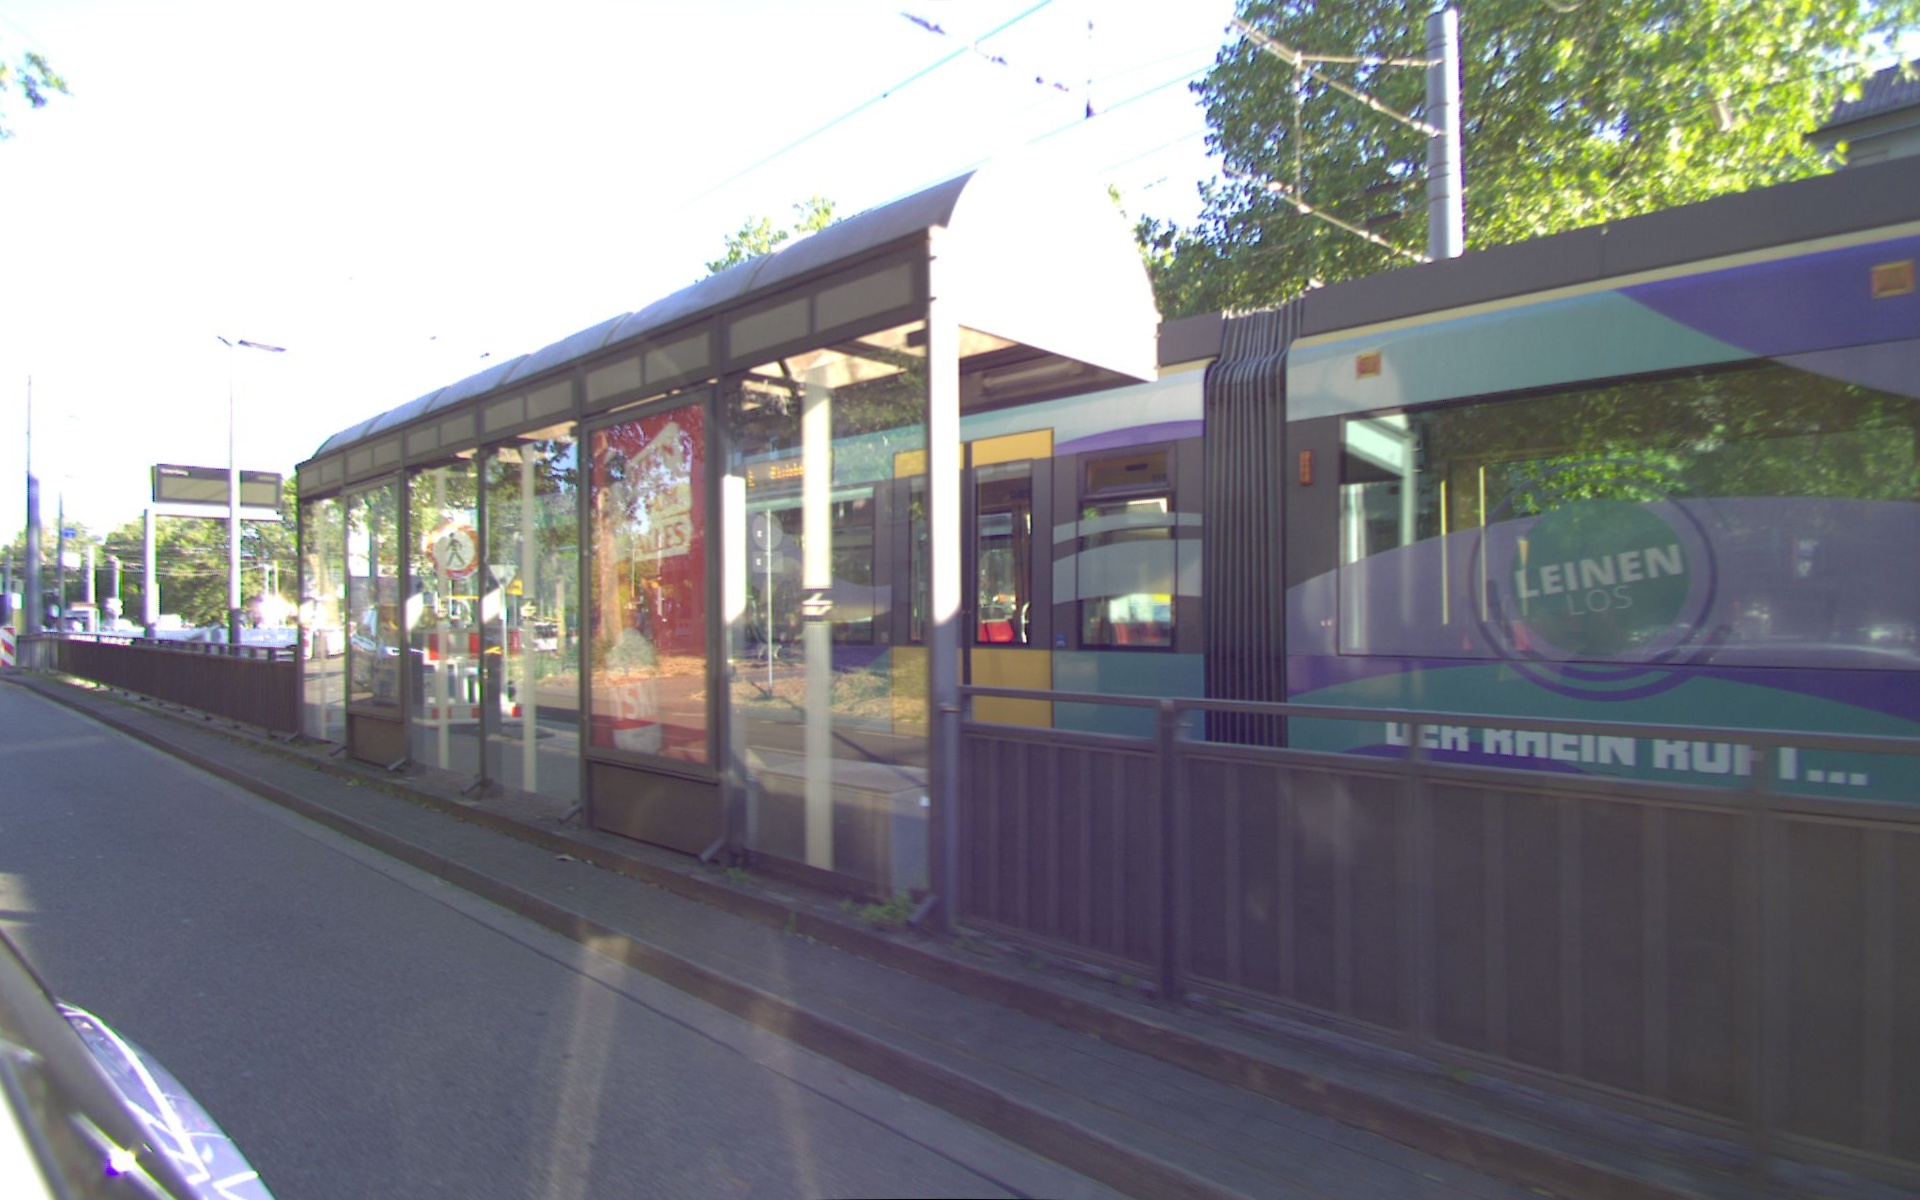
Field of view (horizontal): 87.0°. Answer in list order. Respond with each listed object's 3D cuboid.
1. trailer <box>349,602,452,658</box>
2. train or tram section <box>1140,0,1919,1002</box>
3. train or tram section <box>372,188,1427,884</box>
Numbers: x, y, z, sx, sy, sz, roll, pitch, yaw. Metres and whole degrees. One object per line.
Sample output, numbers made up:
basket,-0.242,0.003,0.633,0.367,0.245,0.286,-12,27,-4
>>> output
trailer,-22.645,1.202,40.905,4.337,2.131,1.976,-2,-1,36
train or tram section,6.594,-0.442,2.303,12.785,3.576,2.699,-1,-1,43
train or tram section,-2.510,-0.215,10.797,13.397,3.560,2.818,-1,-1,43
